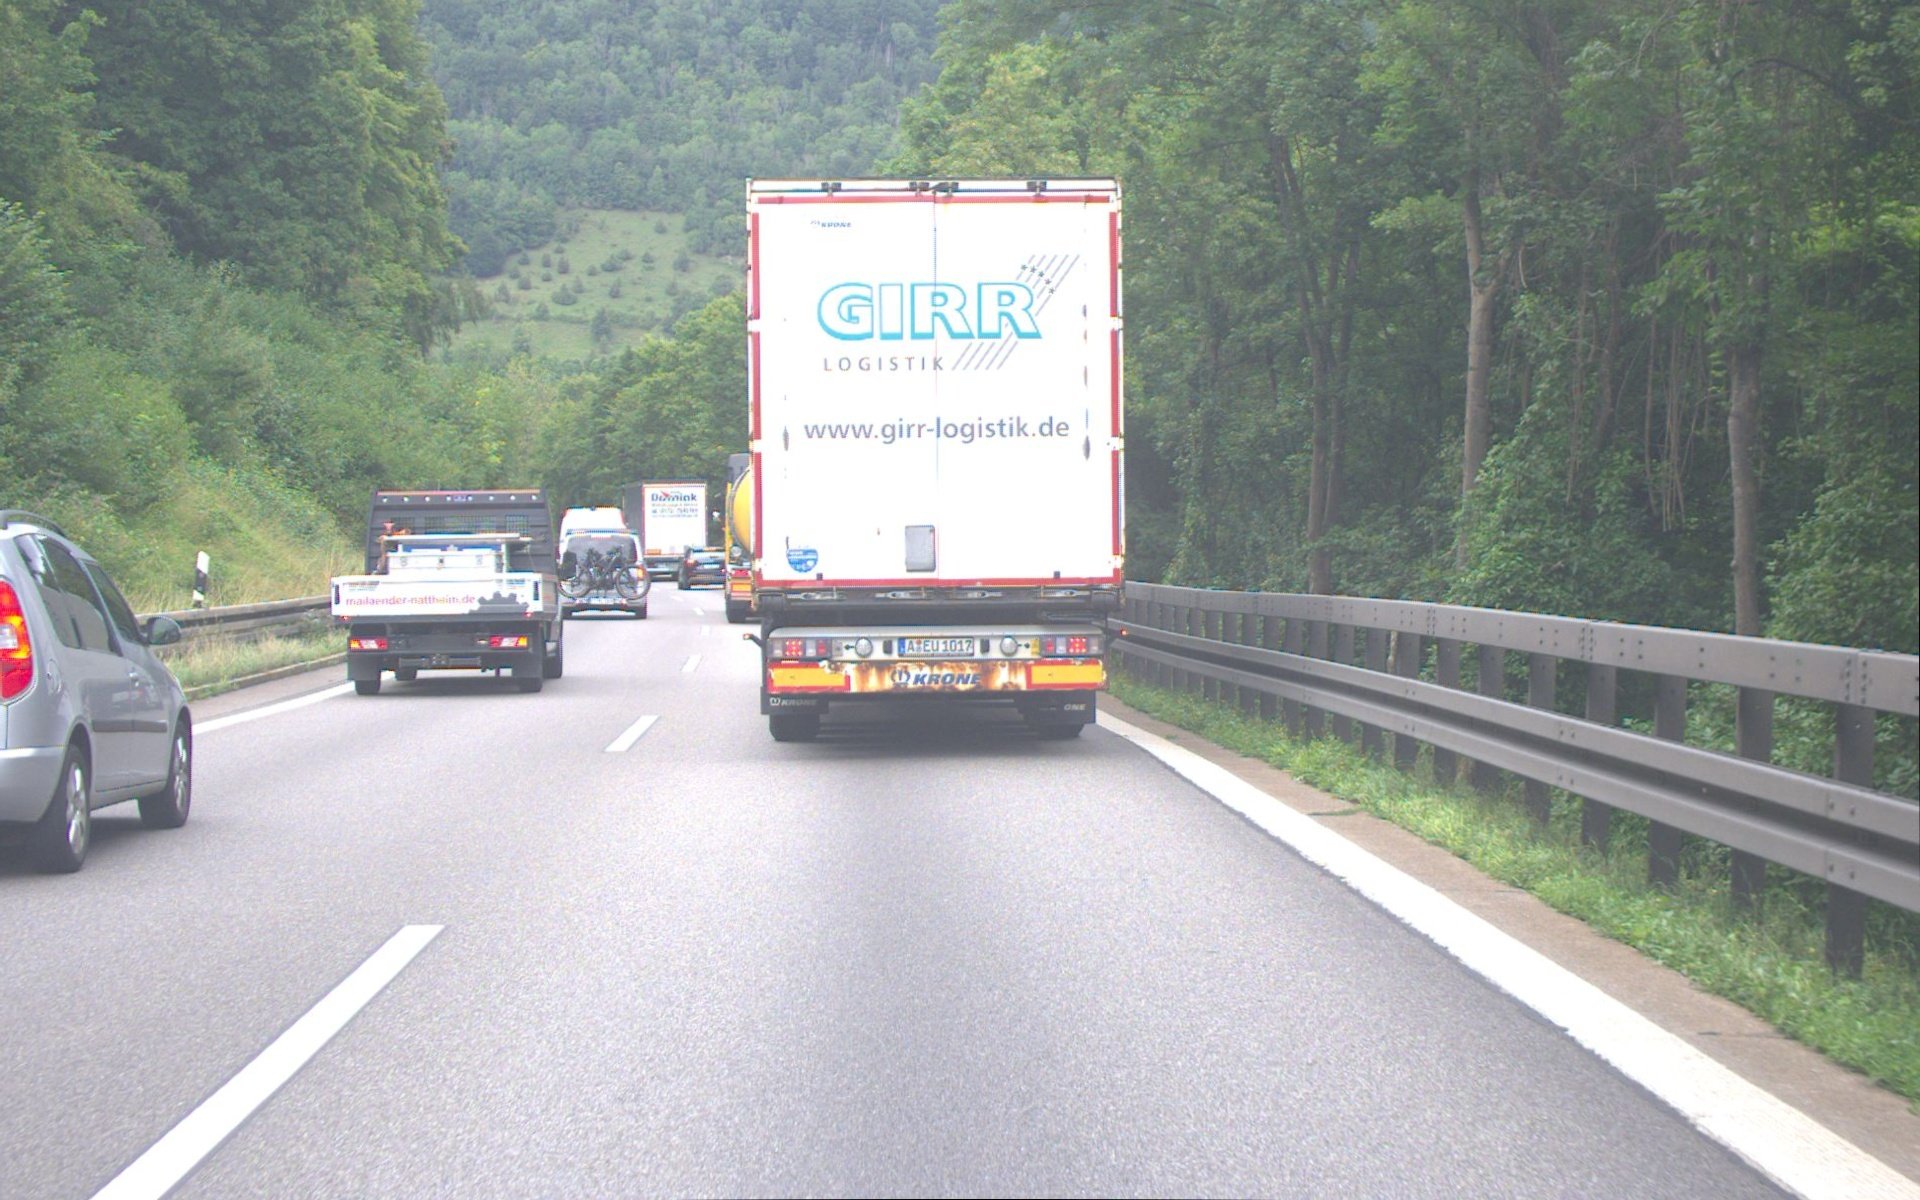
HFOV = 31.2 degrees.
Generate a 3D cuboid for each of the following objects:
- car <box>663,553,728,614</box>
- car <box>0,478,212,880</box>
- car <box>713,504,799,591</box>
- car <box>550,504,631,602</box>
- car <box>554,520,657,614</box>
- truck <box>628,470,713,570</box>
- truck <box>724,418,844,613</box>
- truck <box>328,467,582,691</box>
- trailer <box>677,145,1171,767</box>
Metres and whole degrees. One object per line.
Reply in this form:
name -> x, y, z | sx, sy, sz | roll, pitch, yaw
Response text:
car -> -8.930, -0.564, 115.906 | 1.993, 2.007, 4.001 | 1, 0, -6
car -> -4.826, 0.307, 16.846 | 1.634, 1.720, 4.345 | 0, 1, -4
car -> -4.951, -1.267, 83.266 | 1.993, 2.007, 4.334 | 1, 0, -4
car -> -10.108, -1.301, 94.214 | 2.123, 2.589, 5.564 | 0, 1, -6
car -> -7.638, -0.743, 74.493 | 2.018, 1.908, 5.564 | 1, 1, -4
truck -> -11.760, -3.165, 139.077 | 3.068, 3.864, 8.460 | 1, 0, -7
truck -> -3.578, -1.696, 71.254 | 2.233, 3.791, 6.823 | 1, 0, -2
truck -> -5.592, -0.269, 38.935 | 2.349, 2.266, 6.850 | 1, 1, -5
trailer -> -0.325, -1.046, 27.772 | 3.133, 4.029, 9.440 | 3, 1, -1
